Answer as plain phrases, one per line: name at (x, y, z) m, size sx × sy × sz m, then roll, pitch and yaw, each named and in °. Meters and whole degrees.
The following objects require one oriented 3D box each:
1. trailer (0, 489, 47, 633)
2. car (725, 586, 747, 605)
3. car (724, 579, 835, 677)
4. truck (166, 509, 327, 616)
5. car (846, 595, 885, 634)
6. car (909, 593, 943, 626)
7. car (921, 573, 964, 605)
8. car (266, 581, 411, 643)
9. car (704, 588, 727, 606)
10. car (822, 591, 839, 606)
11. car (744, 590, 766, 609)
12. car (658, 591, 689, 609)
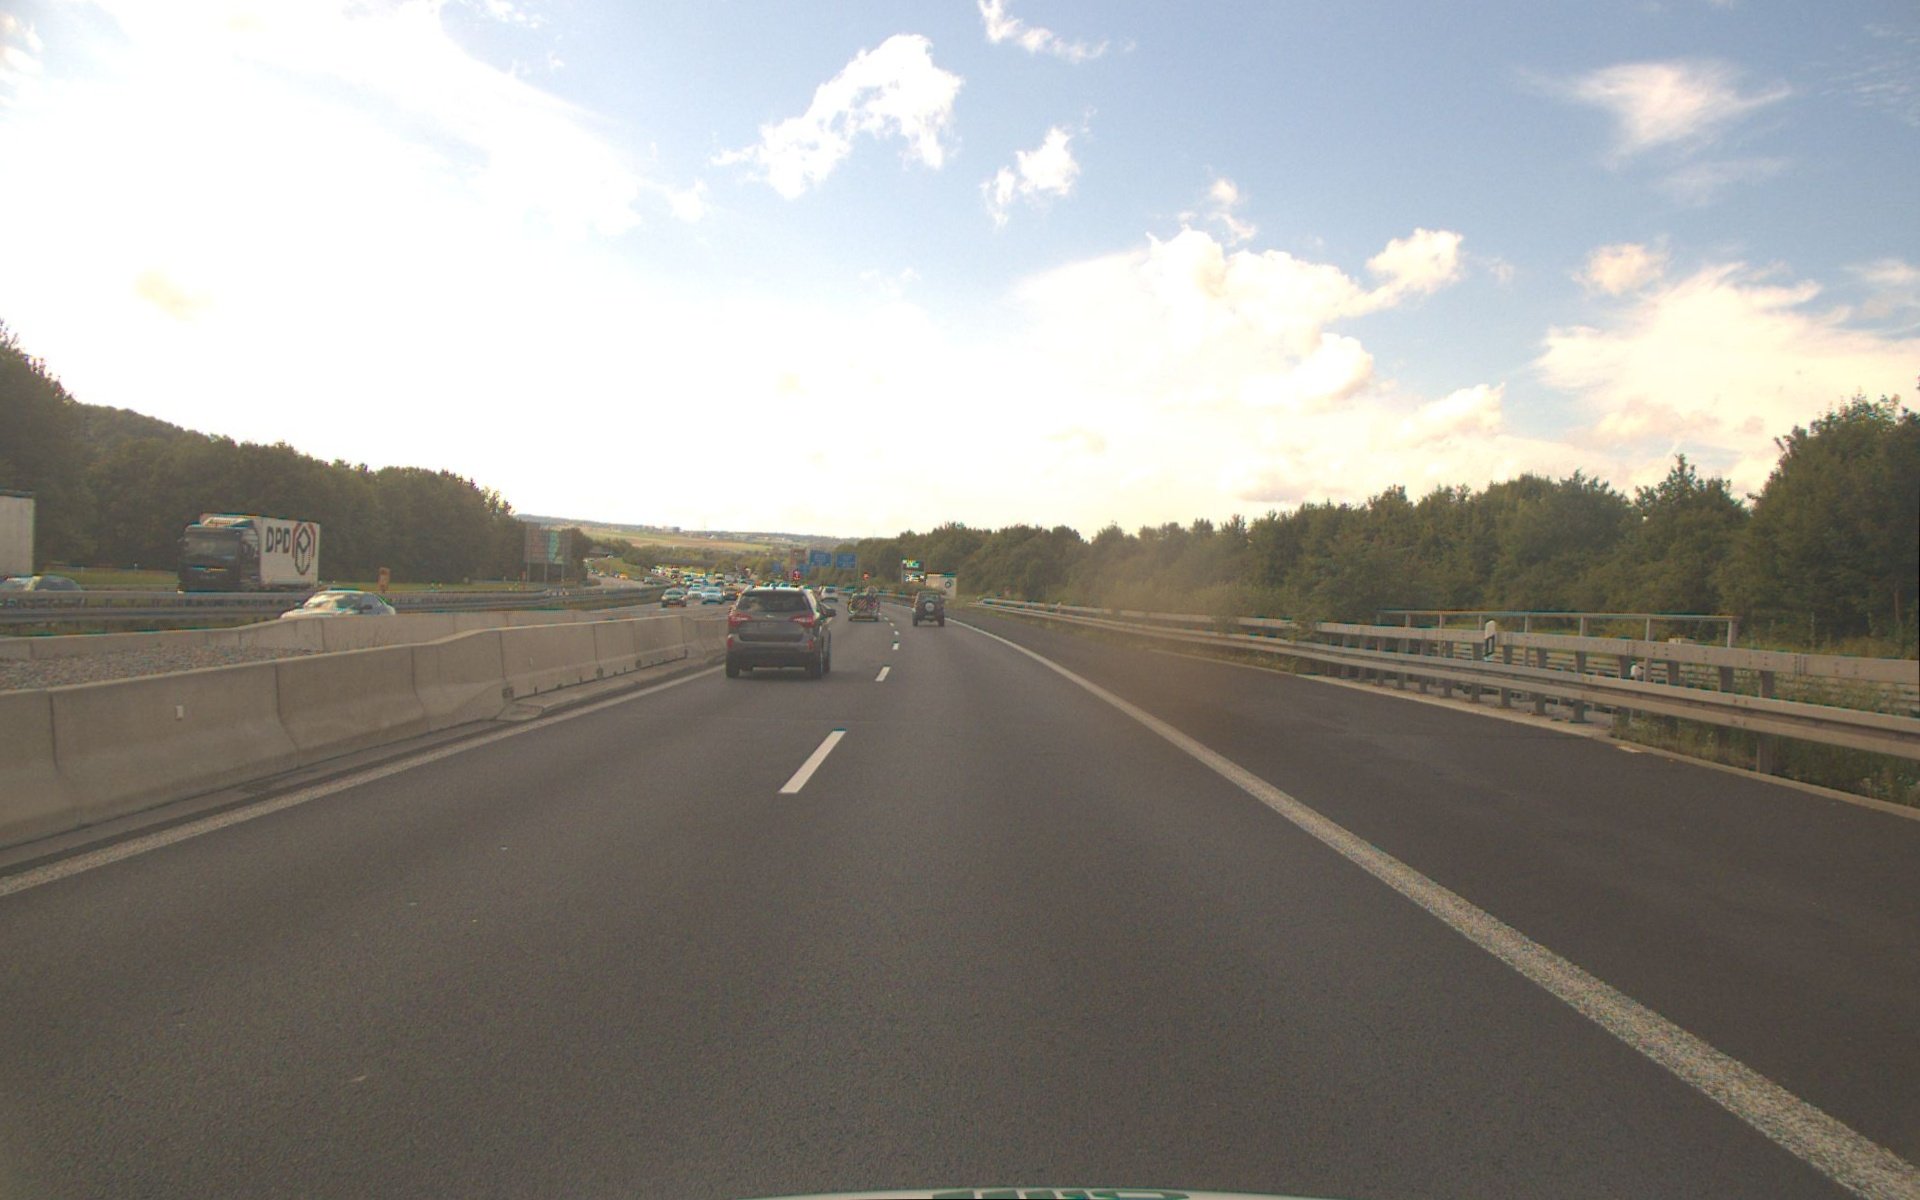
trailer at (-30.684, -1.266, 46.727) m, size 3.254 × 4.368 × 12.135 m, roll 1°, pitch -1°, yaw -2°
car at (-22.907, -0.471, 169.181) m, size 1.849 × 1.816 × 4.949 m, roll 1°, pitch 0°, yaw -4°
car at (-3.485, 0.530, 32.800) m, size 1.781 × 1.766 × 5.184 m, roll 1°, pitch 0°, yaw -2°
truck at (-29.825, -1.413, 69.743) m, size 2.845 × 4.038 × 10.454 m, roll 1°, pitch -1°, yaw -4°
car at (-5.433, 0.827, 95.886) m, size 1.989 × 2.189 × 4.000 m, roll 1°, pitch 0°, yaw 0°
car at (-1.754, 0.465, 84.421) m, size 1.555 × 1.625 × 4.093 m, roll 1°, pitch 0°, yaw -3°
car at (-2.649, -1.521, 243.730) m, size 4.642 × 4.341 × 11.377 m, roll 1°, pitch -1°, yaw -9°
car at (-15.936, 0.333, 42.717) m, size 1.836 × 1.473 × 5.121 m, roll 1°, pitch -1°, yaw -1°
car at (-23.101, -0.264, 156.475) m, size 1.849 × 1.638 × 4.961 m, roll 1°, pitch 0°, yaw -5°
car at (-15.418, -0.149, 196.983) m, size 1.955 × 1.713 × 3.994 m, roll 1°, pitch -1°, yaw -6°
car at (-19.362, -0.023, 156.414) m, size 1.849 × 1.733 × 4.961 m, roll 1°, pitch 0°, yaw -5°
car at (-23.503, -0.038, 135.756) m, size 1.954 × 1.427 × 4.809 m, roll 1°, pitch 0°, yaw -4°
